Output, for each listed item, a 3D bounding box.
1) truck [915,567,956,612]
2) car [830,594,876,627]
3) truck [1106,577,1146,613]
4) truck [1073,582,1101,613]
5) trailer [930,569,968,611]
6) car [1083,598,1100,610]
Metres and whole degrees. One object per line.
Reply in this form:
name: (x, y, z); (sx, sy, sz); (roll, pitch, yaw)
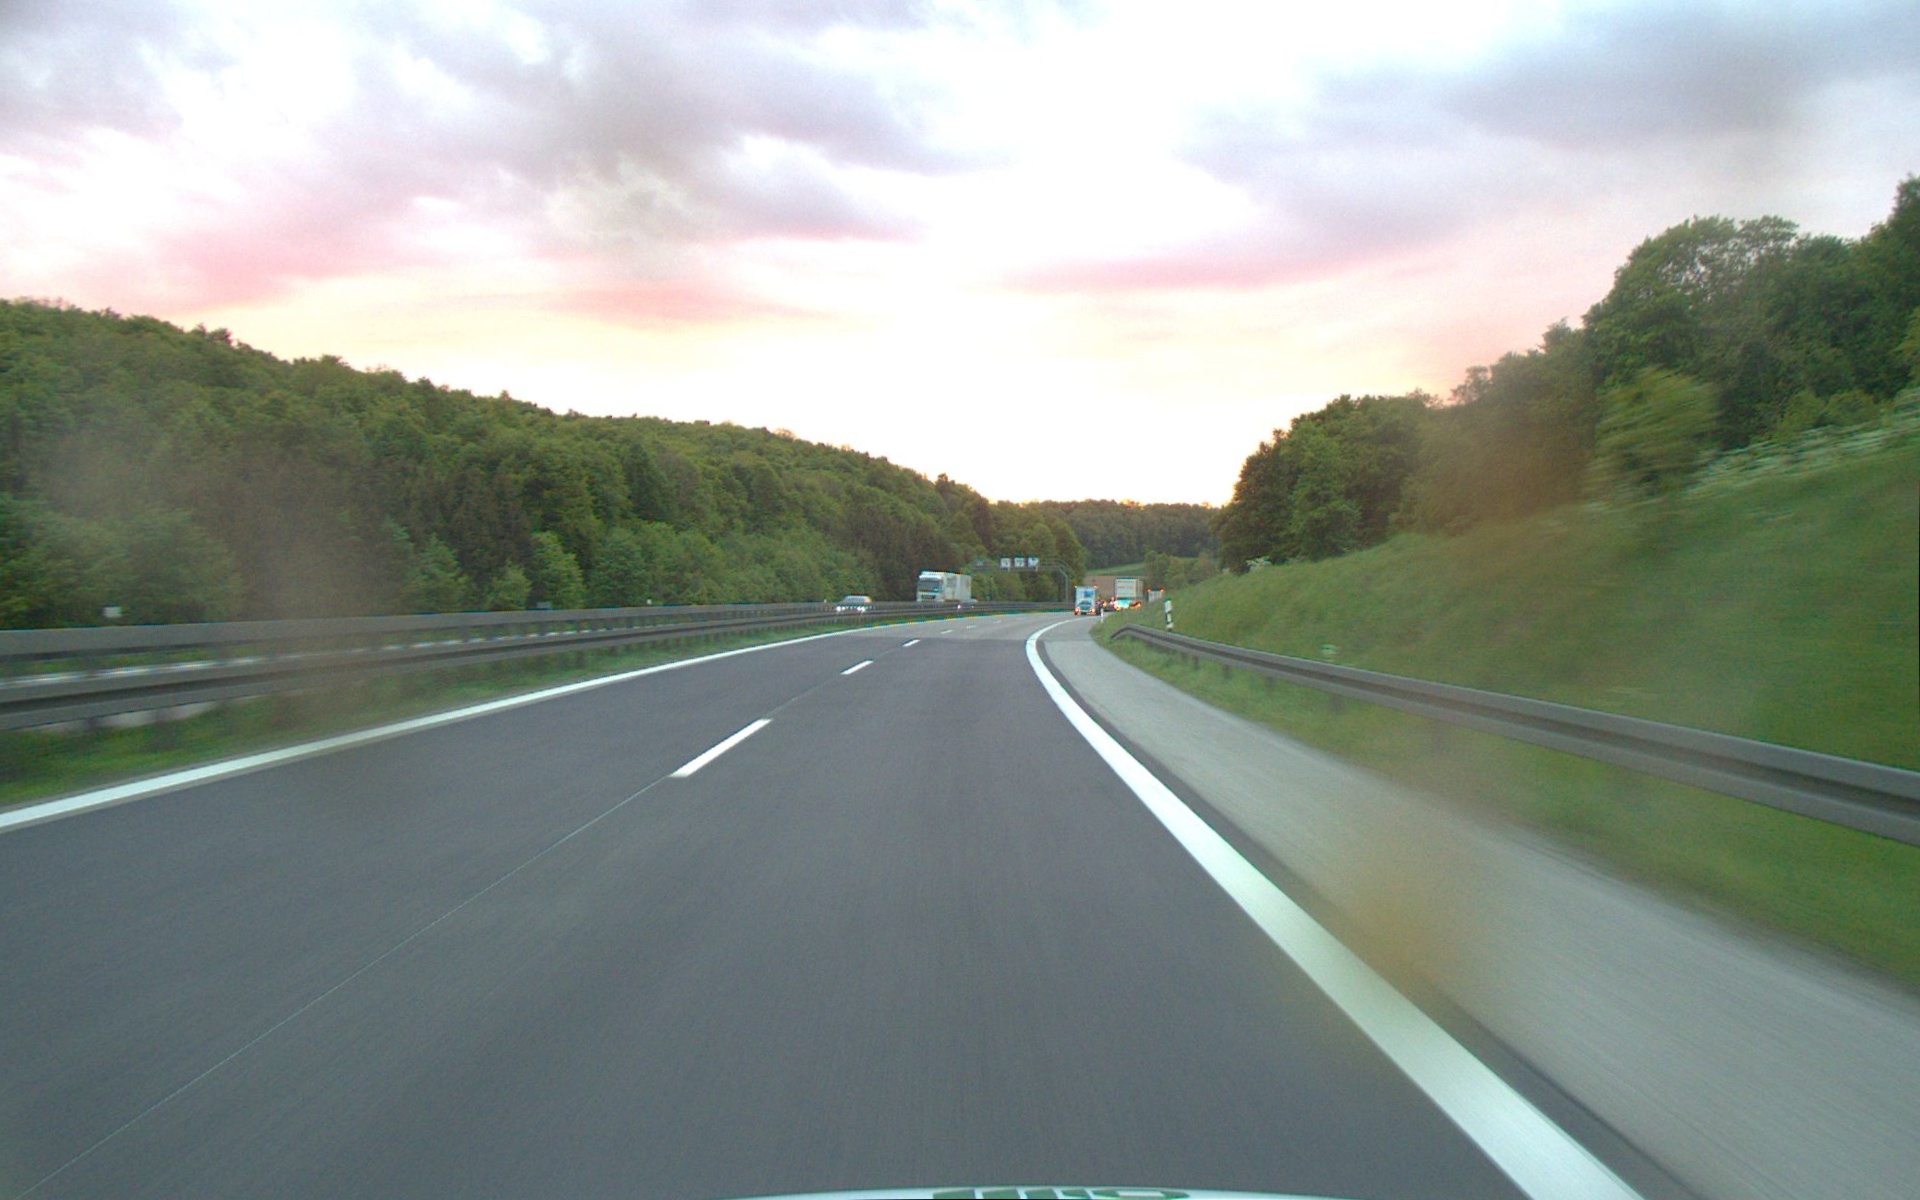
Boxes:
truck: (-2.457, -1.068, 168.135); (2.804, 4.356, 10.073); (0, 0, 7)
car: (-6.813, 0.650, 105.977); (1.951, 2.049, 5.173); (-1, 0, 7)
truck: (21.466, -0.748, 212.922); (3.873, 4.362, 14.337); (-1, 1, 10)
truck: (12.020, -0.278, 156.175); (2.227, 2.711, 5.241); (-2, 2, 9)
trailer: (-1.178, -1.065, 177.773); (2.771, 4.392, 9.300); (0, 0, 8)
car: (17.354, 0.496, 218.307); (1.951, 1.544, 4.003); (-1, 0, 8)
